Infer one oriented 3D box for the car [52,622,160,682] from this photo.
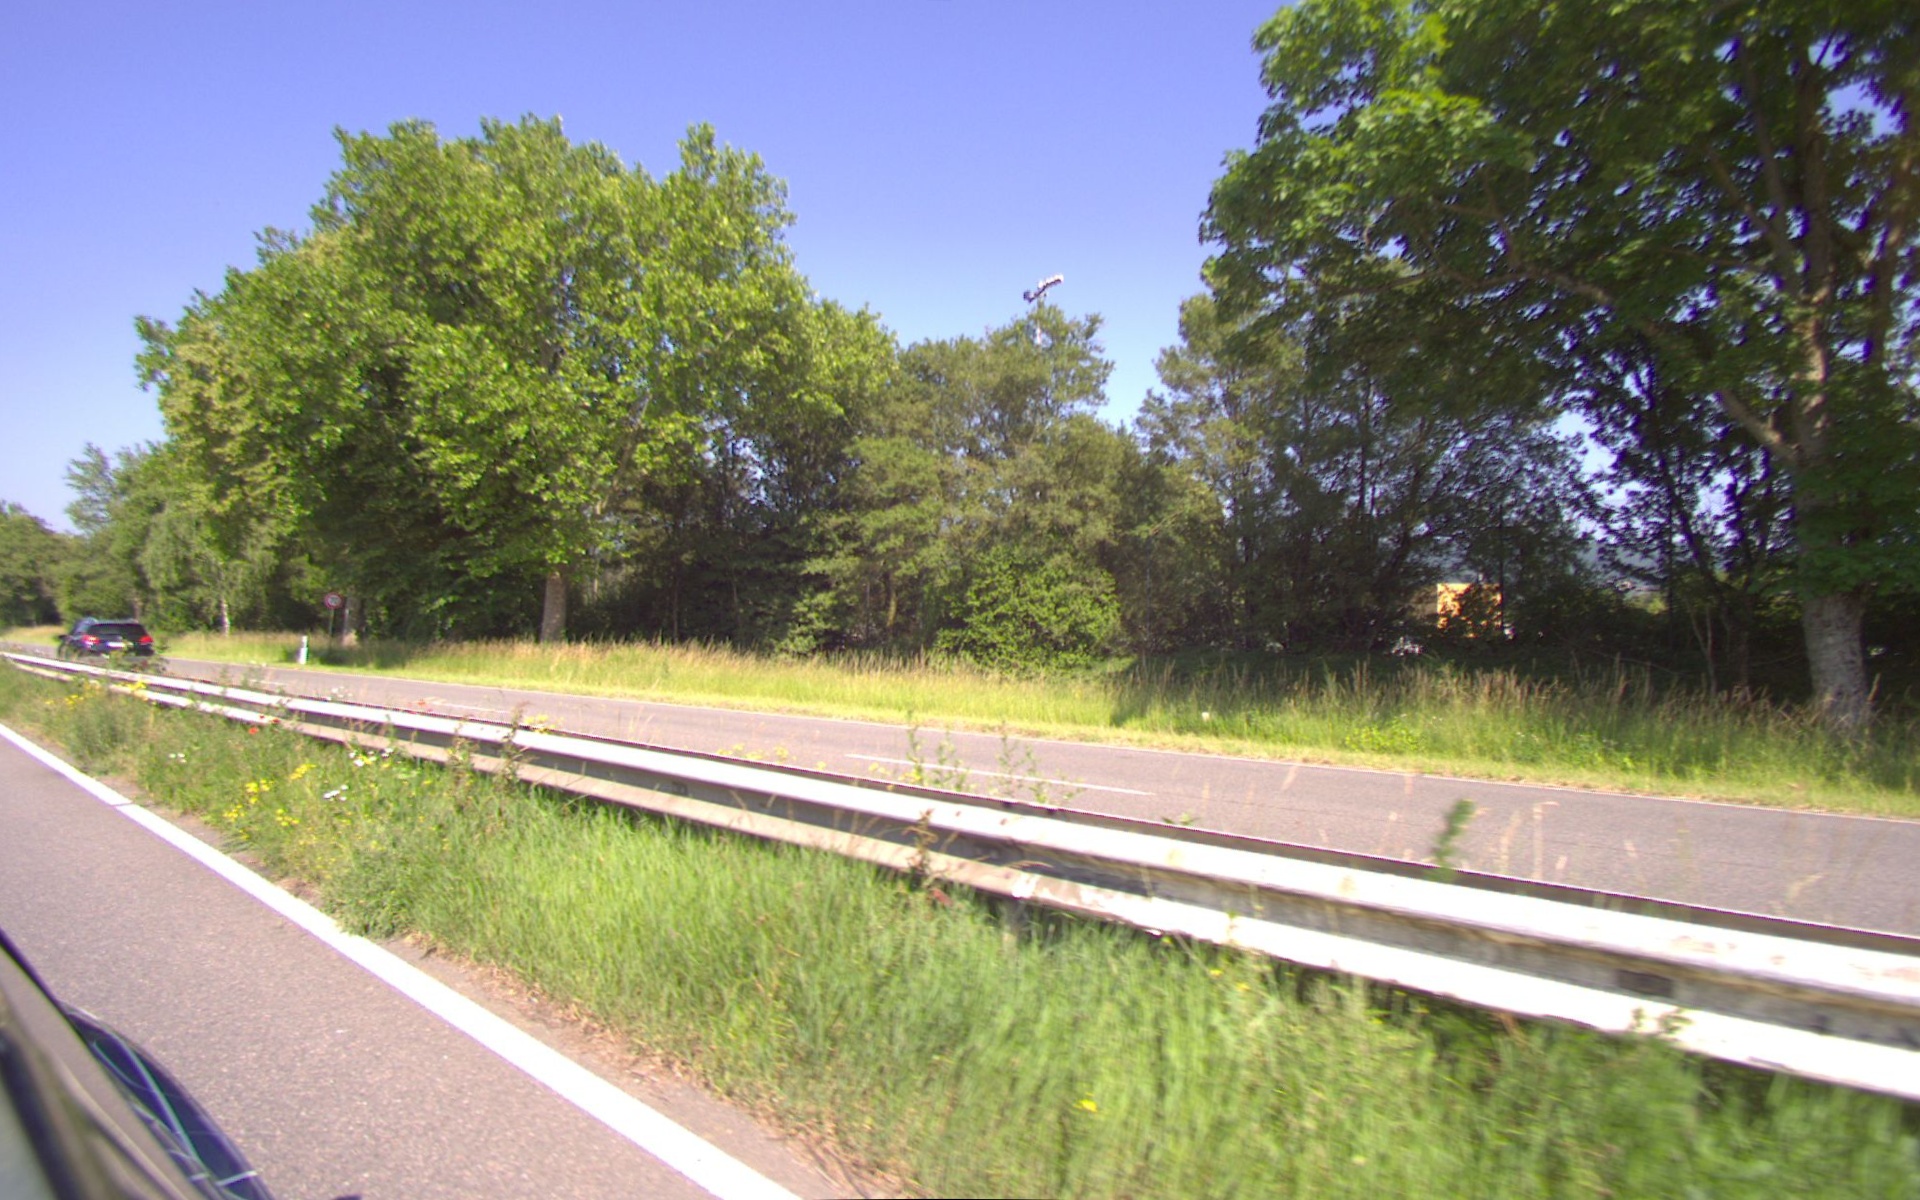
[{"bbox_3d":[-23.903,1.410,28.264,4.161,1.542,1.759,-1,-3,43],"label":"car"}]
